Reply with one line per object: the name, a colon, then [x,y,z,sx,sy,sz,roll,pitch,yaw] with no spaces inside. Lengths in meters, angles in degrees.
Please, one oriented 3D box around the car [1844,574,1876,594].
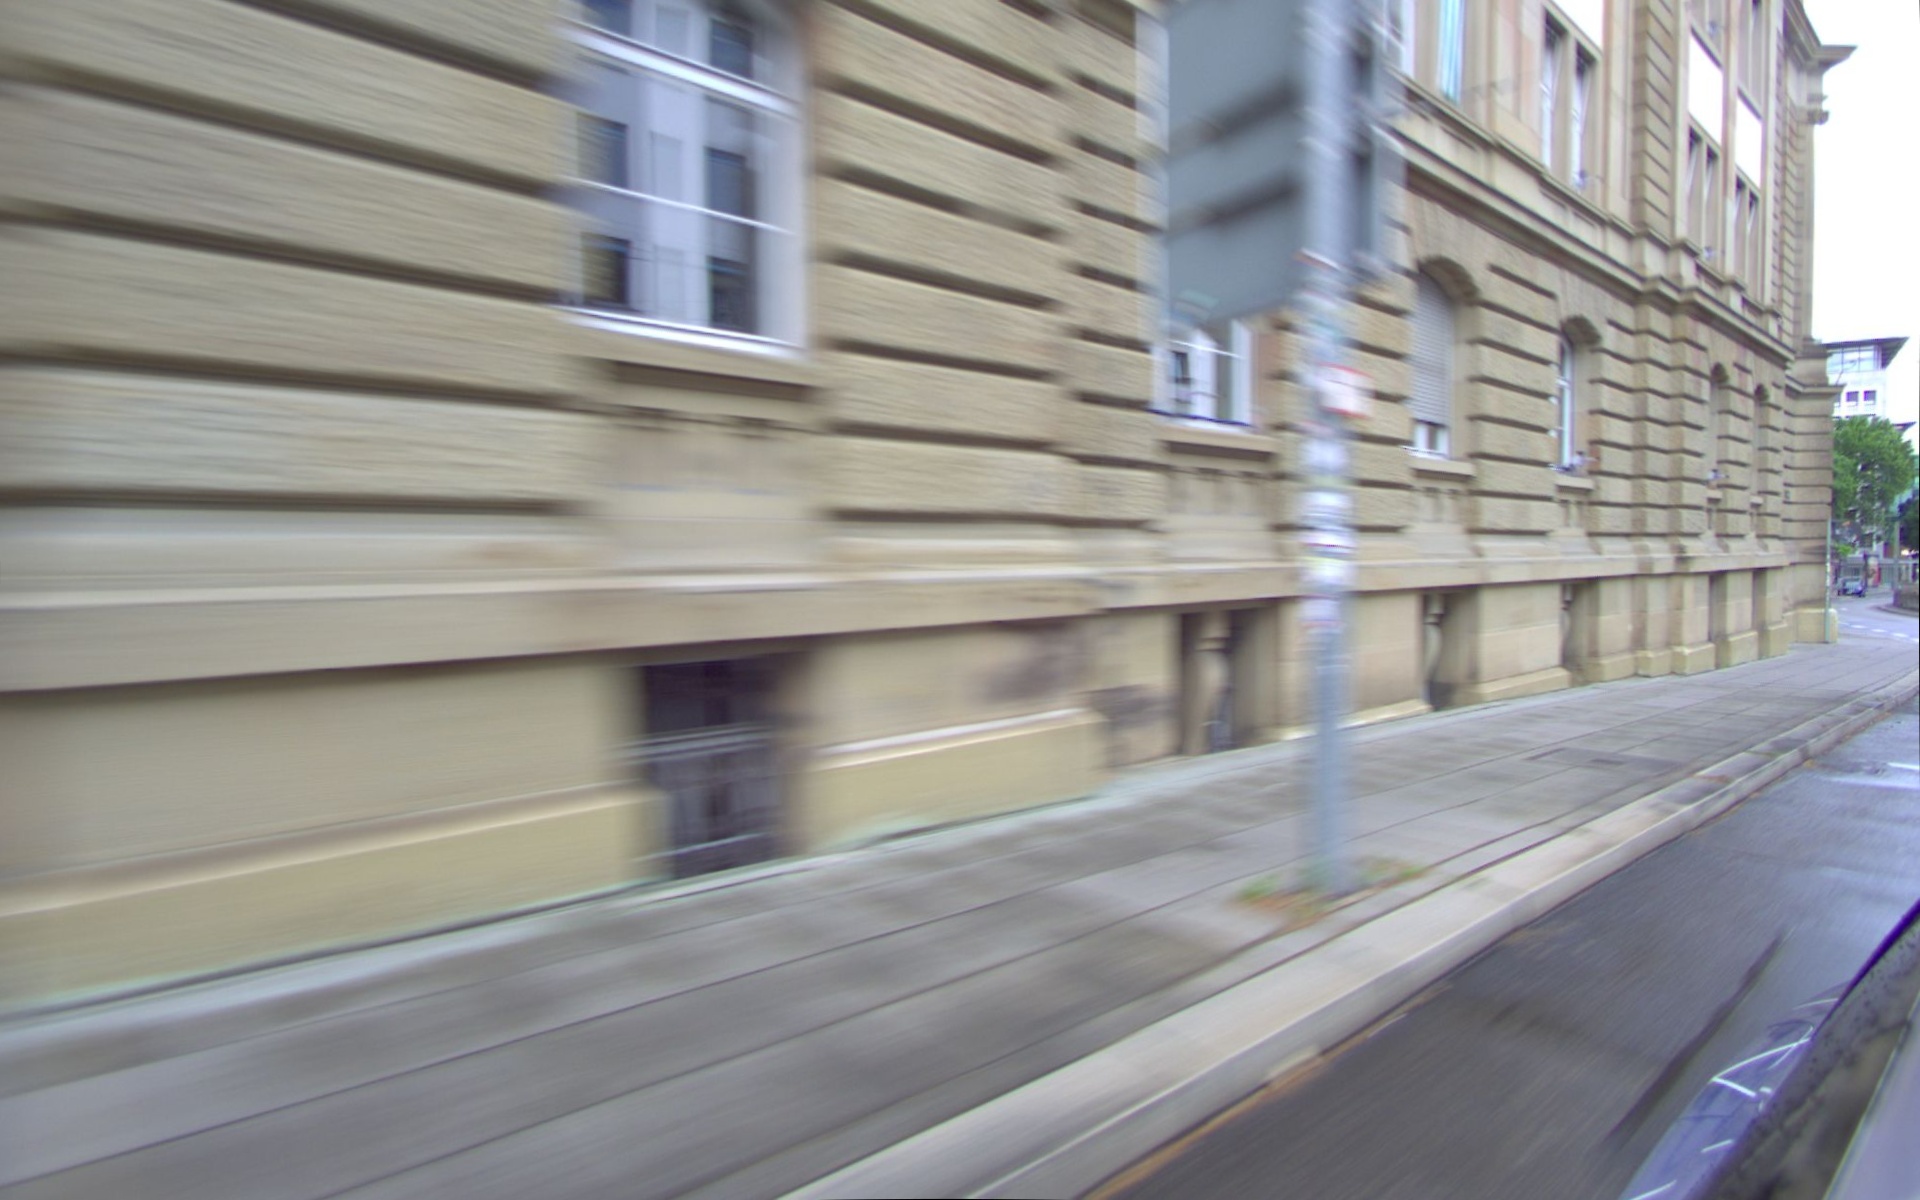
car: [89.847,-1.629,101.063,1.988,1.838,3.949,-1,2,37]
